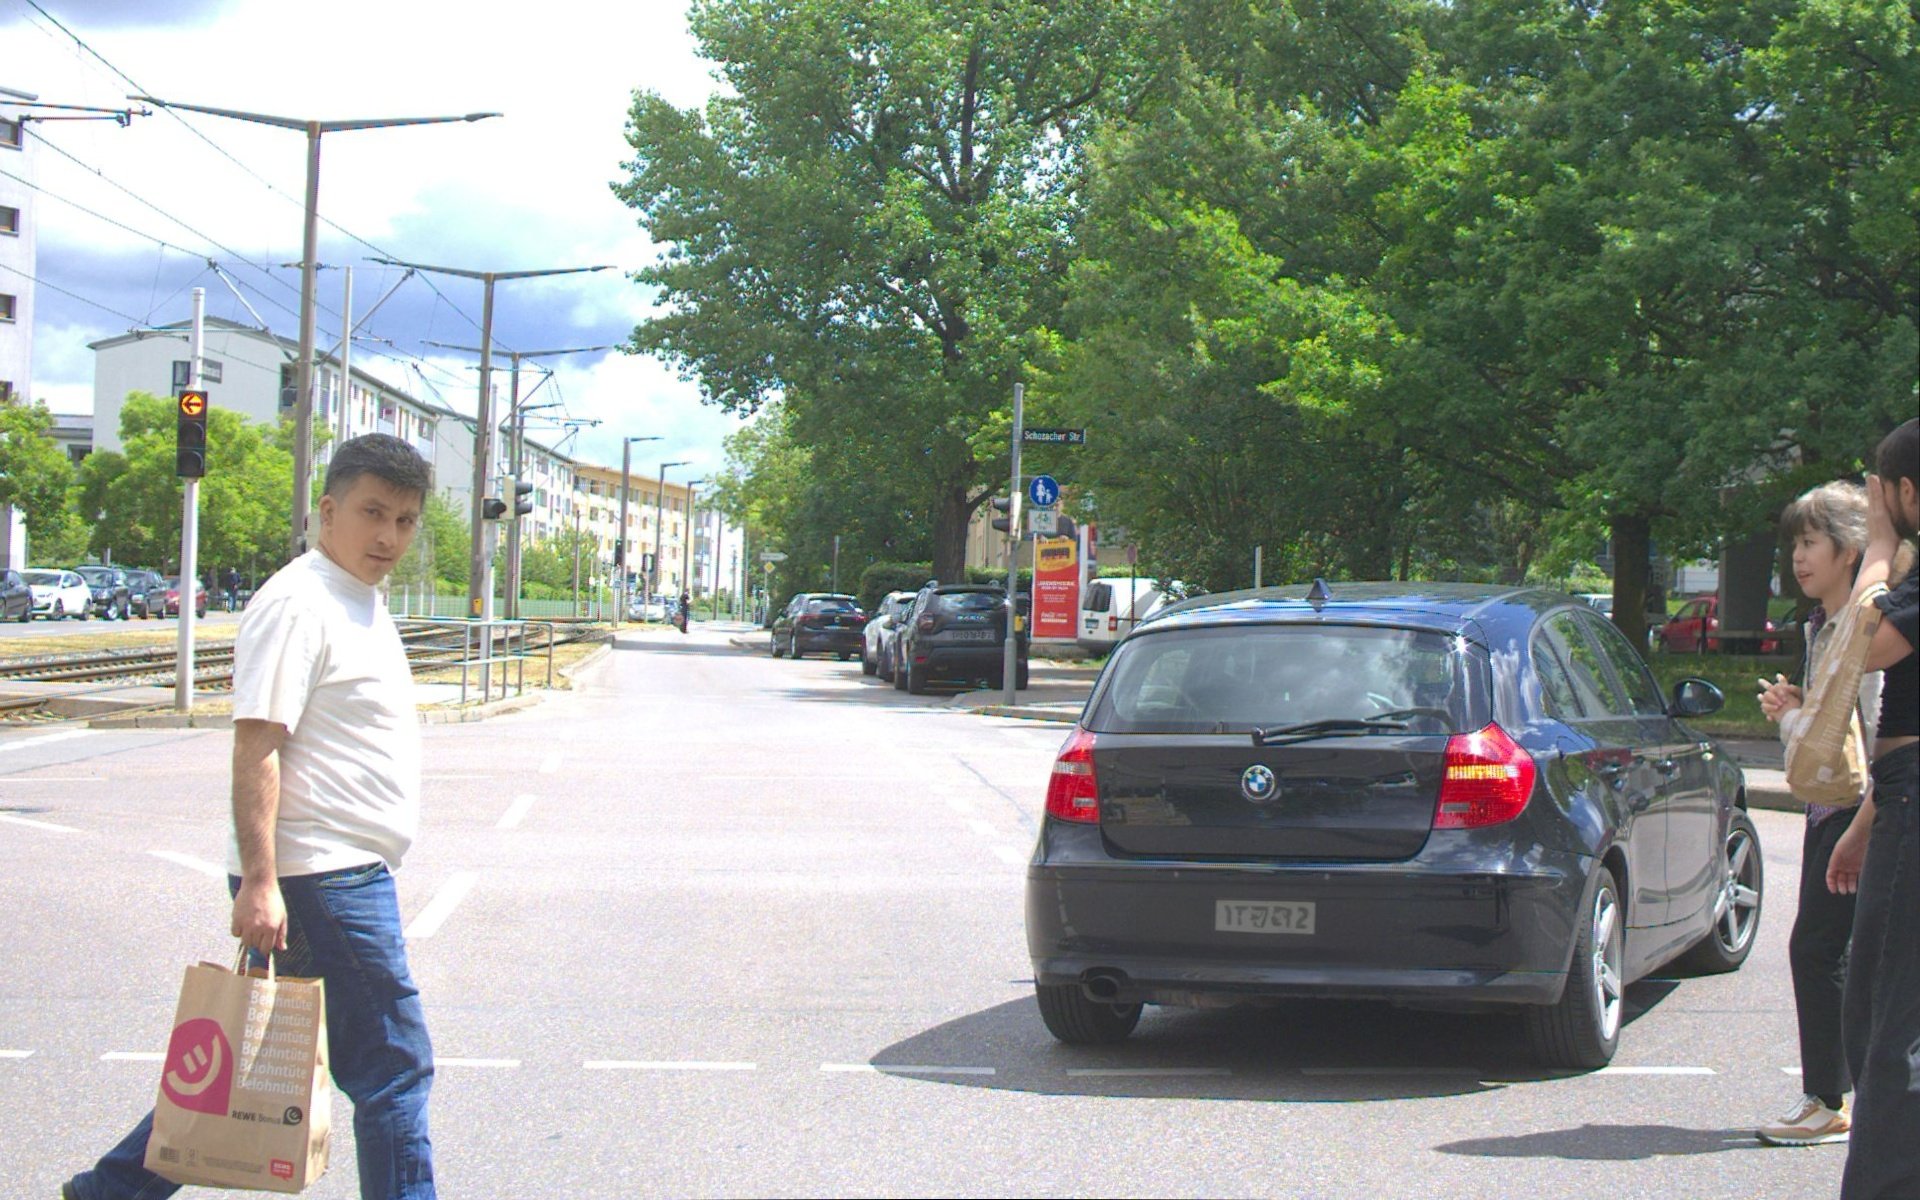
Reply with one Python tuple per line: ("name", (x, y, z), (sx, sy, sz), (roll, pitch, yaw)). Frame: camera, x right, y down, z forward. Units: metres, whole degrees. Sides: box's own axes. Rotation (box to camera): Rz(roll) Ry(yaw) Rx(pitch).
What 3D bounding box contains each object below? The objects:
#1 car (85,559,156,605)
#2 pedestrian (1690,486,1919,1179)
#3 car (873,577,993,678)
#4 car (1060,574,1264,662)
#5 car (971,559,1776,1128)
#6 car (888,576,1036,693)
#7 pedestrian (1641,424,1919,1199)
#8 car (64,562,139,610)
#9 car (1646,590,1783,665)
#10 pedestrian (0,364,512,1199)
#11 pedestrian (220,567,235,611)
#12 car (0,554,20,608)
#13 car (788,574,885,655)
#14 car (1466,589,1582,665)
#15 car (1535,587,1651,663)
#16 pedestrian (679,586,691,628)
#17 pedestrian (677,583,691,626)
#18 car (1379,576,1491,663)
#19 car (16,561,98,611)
("car", (-26.953, -0.593, 110.450), (1.760, 1.390, 4.001), (1, 1, -7))
("pedestrian", (2.355, 0.556, 8.707), (0.953, 1.668, 0.870), (0, 0, 14))
("car", (-0.480, 0.474, 60.064), (1.993, 1.678, 4.000), (1, 0, -1))
("car", (4.353, 0.396, 74.142), (3.986, 1.817, 1.779), (1, 1, -23))
("car", (1.548, 0.628, 11.335), (1.754, 1.482, 3.996), (1, 1, 20))
("car", (0.011, 0.514, 52.618), (2.152, 1.678, 4.000), (1, 0, -1))
("pedestrian", (1.996, 0.535, 7.068), (0.933, 1.759, 0.772), (0, 1, -12))
("car", (-26.385, -0.441, 105.790), (1.760, 1.390, 4.001), (1, 1, -7))
("car", (17.041, 0.605, 77.842), (1.730, 1.589, 4.001), (1, 1, -8))
("pedestrian", (-1.335, 0.477, 6.611), (0.868, 1.802, 0.742), (1, 1, -4))
("pedestrian", (-27.638, -0.420, 129.767), (0.452, 1.631, 0.480), (1, 1, -3))
("car", (-26.309, -0.531, 91.784), (1.760, 1.390, 4.001), (1, 1, -7))
("car", (-2.686, 0.290, 75.449), (1.993, 1.678, 4.000), (1, 1, -1))
("car", (12.460, 0.569, 76.162), (1.630, 1.567, 4.033), (1, 1, -4))
("car", (14.222, 0.538, 77.428), (1.630, 1.589, 4.001), (1, 1, -4))
("pedestrian", (-10.536, 0.273, 131.630), (0.333, 1.622, 0.358), (1, 1, -18))
("pedestrian", (-10.570, 0.160, 131.551), (0.478, 1.631, 0.454), (1, 1, -1))
("car", (10.371, 0.406, 75.295), (1.630, 1.804, 4.033), (1, 1, -4))
("car", (-26.078, -0.415, 99.323), (1.760, 1.390, 4.001), (1, 1, -7))
